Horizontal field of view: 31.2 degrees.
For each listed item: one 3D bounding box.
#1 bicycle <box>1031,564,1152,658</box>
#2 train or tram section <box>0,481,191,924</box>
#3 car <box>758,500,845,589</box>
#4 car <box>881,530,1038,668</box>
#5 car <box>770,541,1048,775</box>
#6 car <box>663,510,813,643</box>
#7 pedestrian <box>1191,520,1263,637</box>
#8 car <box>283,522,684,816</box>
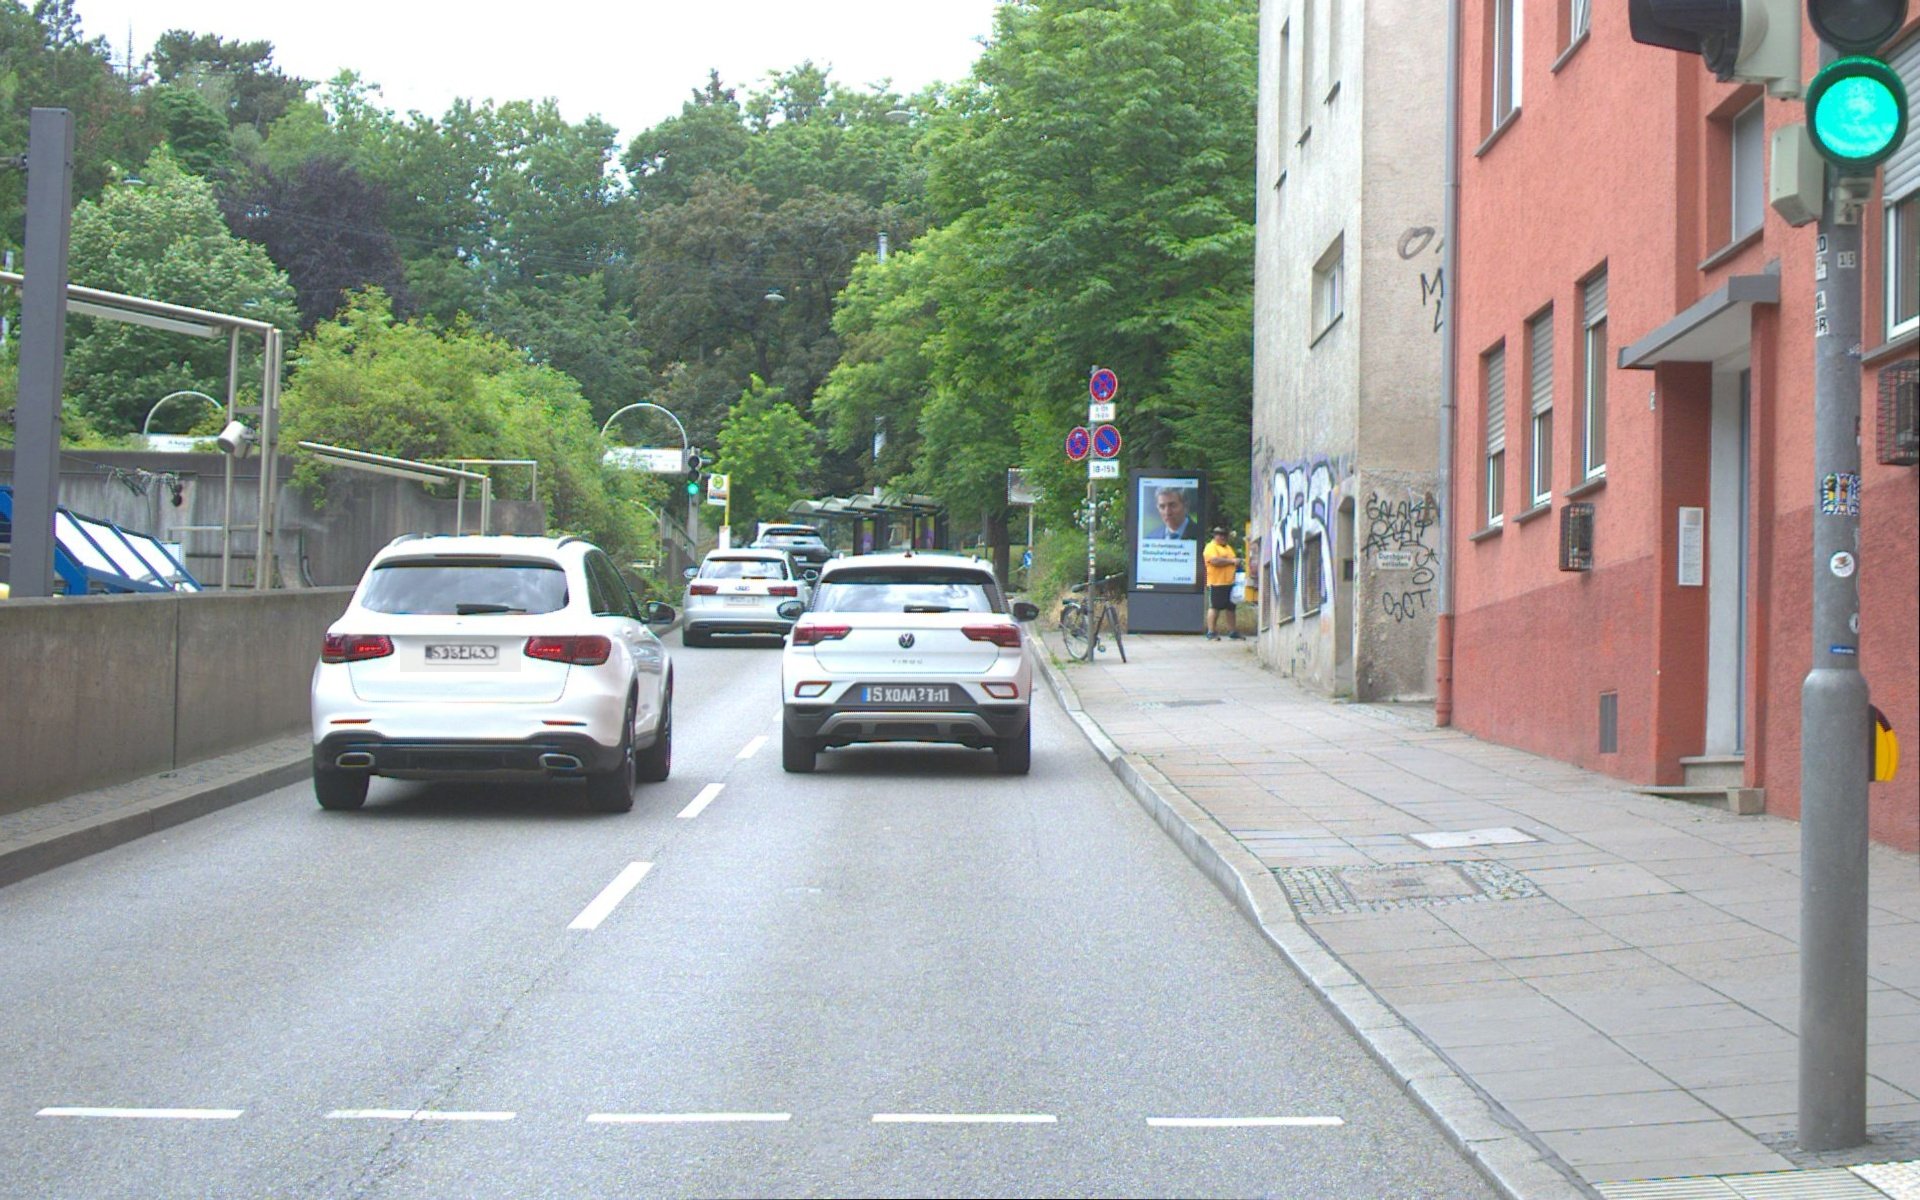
[{"bbox_3d":[1.639,0.125,43.225,0.638,1.139,2.066,-1,1,-25],"label":"bicycle"},{"bbox_3d":[-9.057,0.803,27.700,2.949,3.497,12.986,1,-1,-1],"label":"train or tram section"},{"bbox_3d":[-3.537,-1.244,77.415,1.749,1.875,4.000,2,1,-1],"label":"car"},{"bbox_3d":[-0.004,-0.029,43.515,1.861,1.626,3.959,1,1,0],"label":"car"},{"bbox_3d":[-0.316,0.377,25.410,1.865,1.551,3.894,1,1,1],"label":"car"},{"bbox_3d":[-3.336,-0.369,52.293,1.993,1.875,4.000,2,1,-1],"label":"car"},{"bbox_3d":[3.921,-0.318,50.459,0.832,1.706,0.822,0,0,-14],"label":"pedestrian"},{"bbox_3d":[-2.862,0.365,21.579,1.877,1.646,4.341,0,1,0],"label":"car"}]
